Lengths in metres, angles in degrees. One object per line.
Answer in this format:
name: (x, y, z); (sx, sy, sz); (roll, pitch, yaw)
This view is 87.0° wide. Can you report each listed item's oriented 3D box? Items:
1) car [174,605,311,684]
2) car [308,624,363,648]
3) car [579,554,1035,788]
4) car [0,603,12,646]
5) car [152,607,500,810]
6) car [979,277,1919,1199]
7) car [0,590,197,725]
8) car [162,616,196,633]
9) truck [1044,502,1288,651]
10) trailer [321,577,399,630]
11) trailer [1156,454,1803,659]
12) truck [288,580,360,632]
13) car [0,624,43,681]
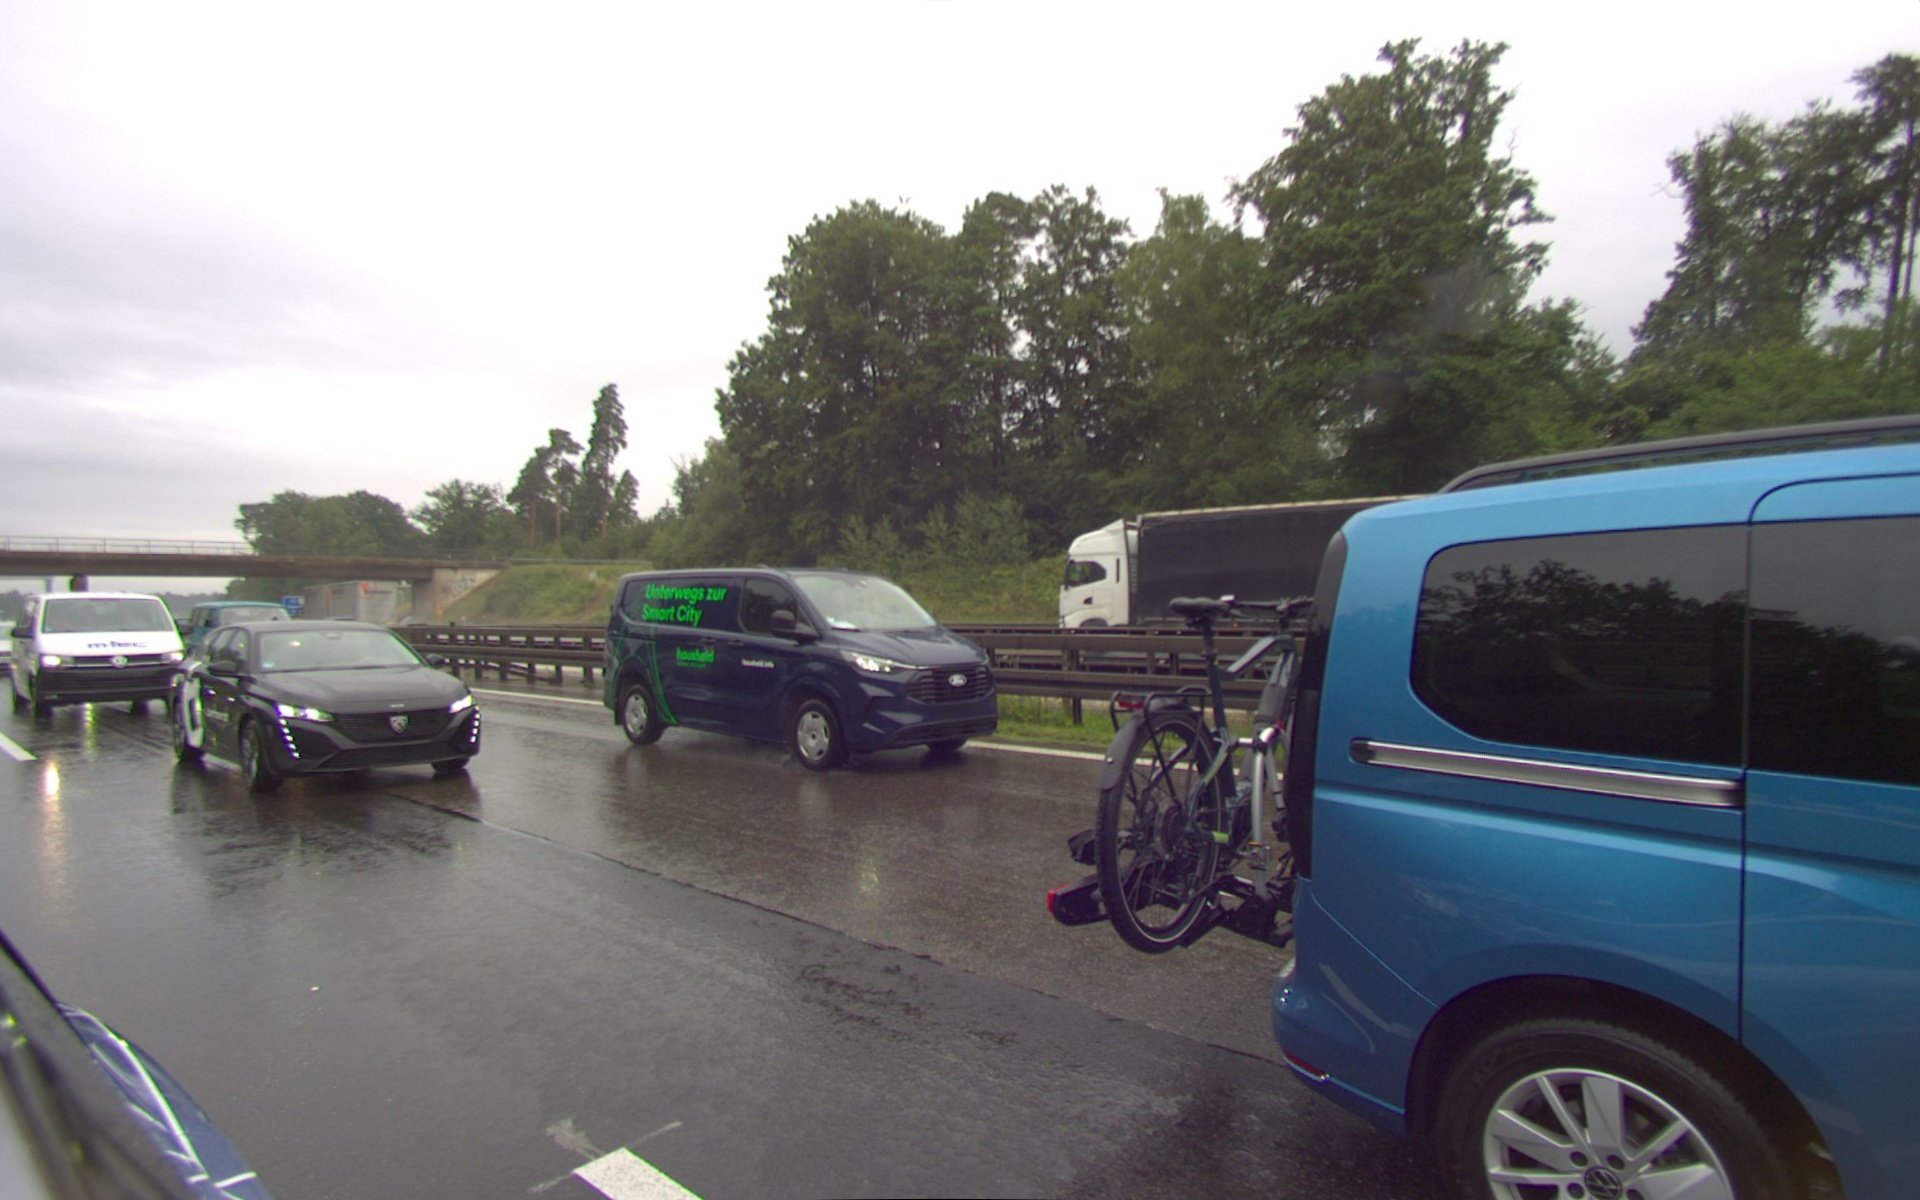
car: (-18.785, 1.099, 26.418); (4.757, 1.877, 1.890); (-1, 0, 41)
car: (-35.844, 2.040, 58.082); (3.755, 1.314, 1.683); (-2, -1, 41)
car: (-1.881, 0.623, 10.948); (5.240, 1.958, 1.970); (-1, 0, 42)
car: (-37.864, 0.968, 38.762); (4.767, 1.572, 1.968); (-2, -1, 43)
car: (-6.347, 0.867, 9.892); (4.467, 1.516, 1.825); (-1, -1, 43)
car: (2.641, 0.436, 2.063); (5.017, 1.926, 2.244); (-2, -1, 44)
car: (-14.162, 0.848, 16.522); (4.767, 1.894, 1.968); (-2, -1, 43)
car: (-73.048, 2.333, 94.654); (4.332, 1.509, 1.816); (-2, -1, 43)
truck: (5.856, -0.558, 29.332); (6.261, 3.847, 2.989); (-2, -1, 41)
trailer: (-45.370, 0.340, 76.392); (9.006, 3.847, 2.653); (-2, -1, 43)
trailer: (11.507, -0.682, 24.469); (13.551, 3.847, 2.993); (-1, -1, 41)
truck: (-52.191, 0.560, 82.853); (10.030, 3.961, 2.674); (-2, -1, 44)
car: (-27.454, 1.450, 28.706); (4.467, 1.516, 1.825); (-1, -1, 43)
